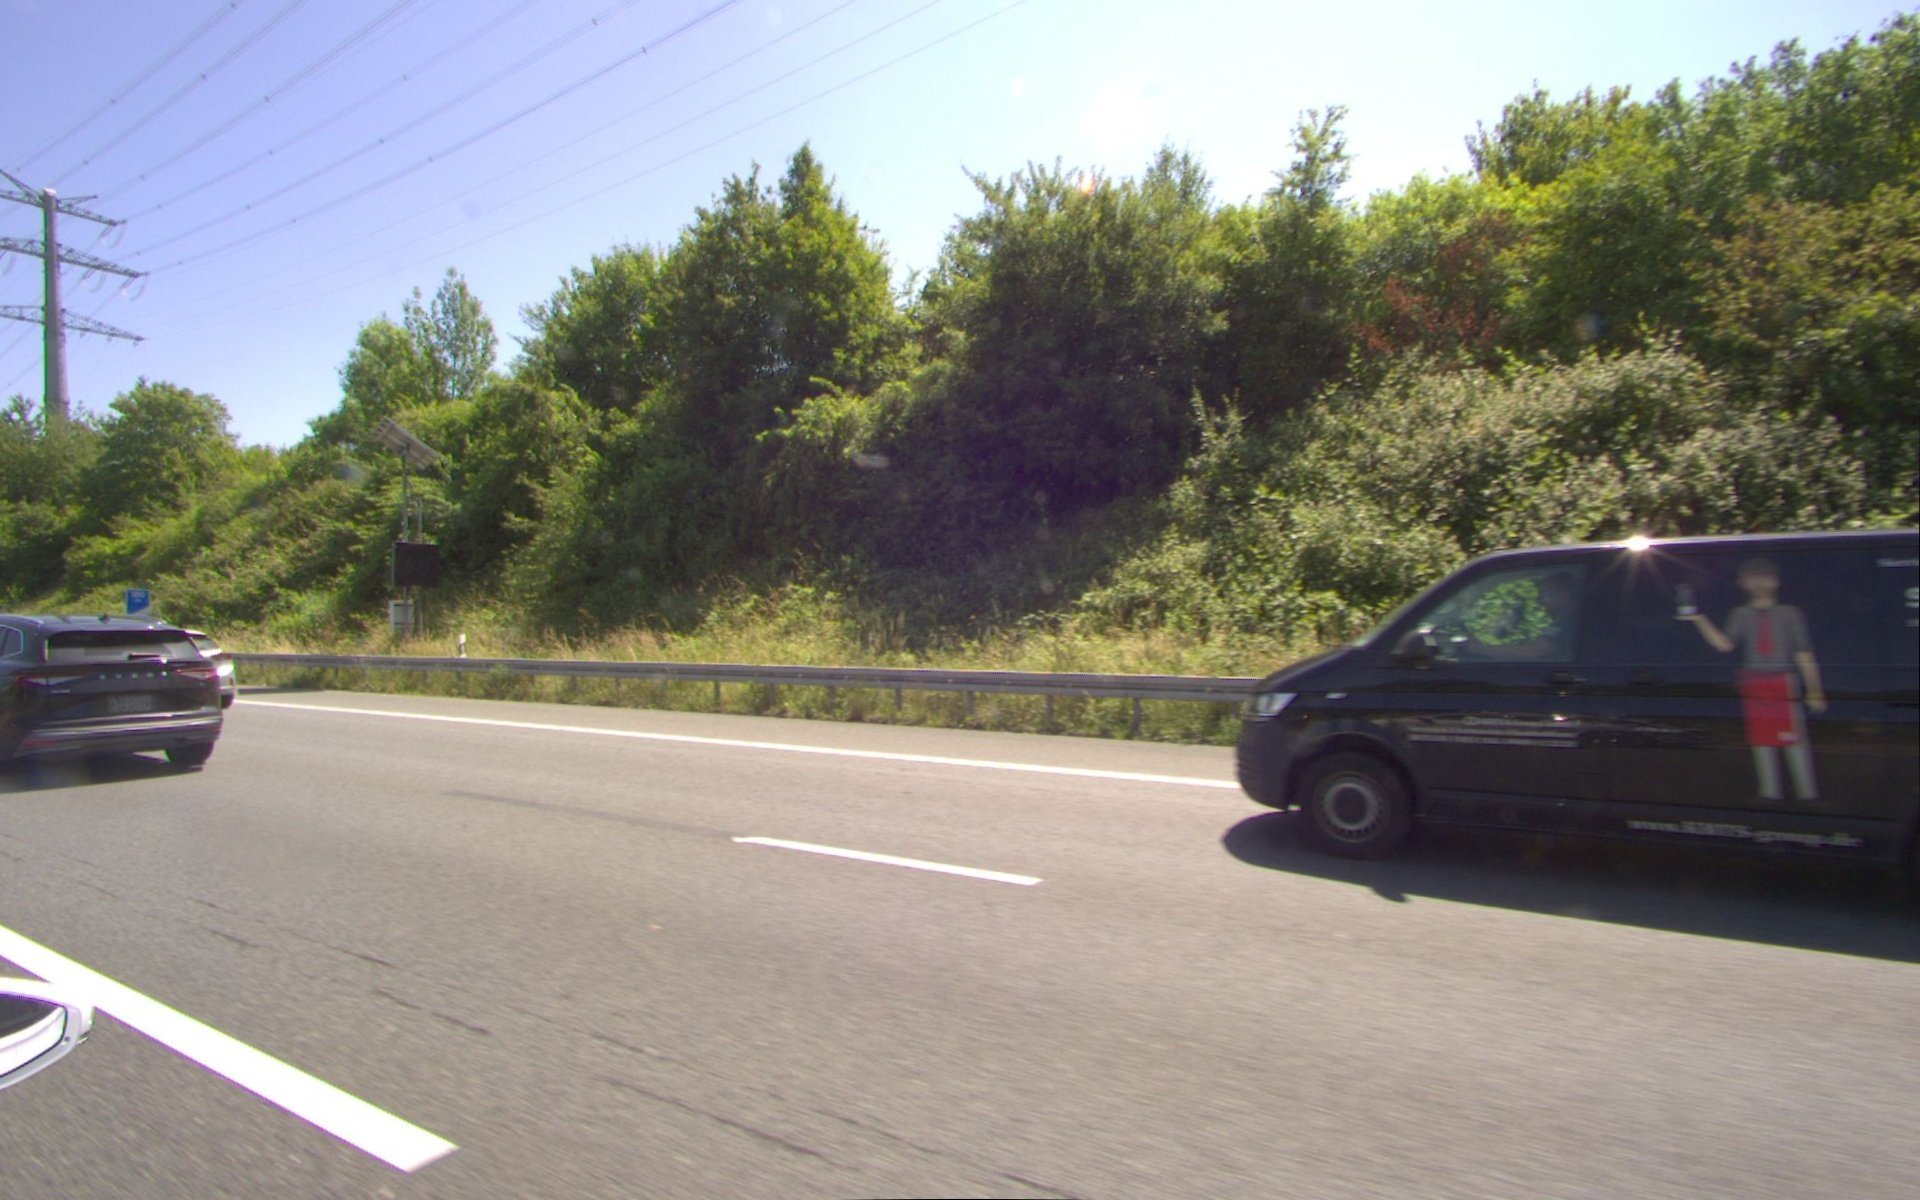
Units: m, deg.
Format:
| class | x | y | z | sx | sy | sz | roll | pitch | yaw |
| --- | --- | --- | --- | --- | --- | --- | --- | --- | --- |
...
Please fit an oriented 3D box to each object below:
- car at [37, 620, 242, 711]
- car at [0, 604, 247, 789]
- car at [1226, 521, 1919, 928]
| class | x | y | z | sx | sy | sz | roll | pitch | yaw |
| --- | --- | --- | --- | --- | --- | --- | --- | --- | --- |
| car | -14.971 | 1.122 | 18.234 | 3.956 | 1.489 | 1.738 | -1 | -1 | 32 |
| car | -9.755 | 0.892 | 10.794 | 4.366 | 1.635 | 1.825 | 0 | -1 | 32 |
| car | 4.149 | 0.628 | 6.030 | 4.630 | 1.928 | 1.782 | -1 | -2 | 31 |
